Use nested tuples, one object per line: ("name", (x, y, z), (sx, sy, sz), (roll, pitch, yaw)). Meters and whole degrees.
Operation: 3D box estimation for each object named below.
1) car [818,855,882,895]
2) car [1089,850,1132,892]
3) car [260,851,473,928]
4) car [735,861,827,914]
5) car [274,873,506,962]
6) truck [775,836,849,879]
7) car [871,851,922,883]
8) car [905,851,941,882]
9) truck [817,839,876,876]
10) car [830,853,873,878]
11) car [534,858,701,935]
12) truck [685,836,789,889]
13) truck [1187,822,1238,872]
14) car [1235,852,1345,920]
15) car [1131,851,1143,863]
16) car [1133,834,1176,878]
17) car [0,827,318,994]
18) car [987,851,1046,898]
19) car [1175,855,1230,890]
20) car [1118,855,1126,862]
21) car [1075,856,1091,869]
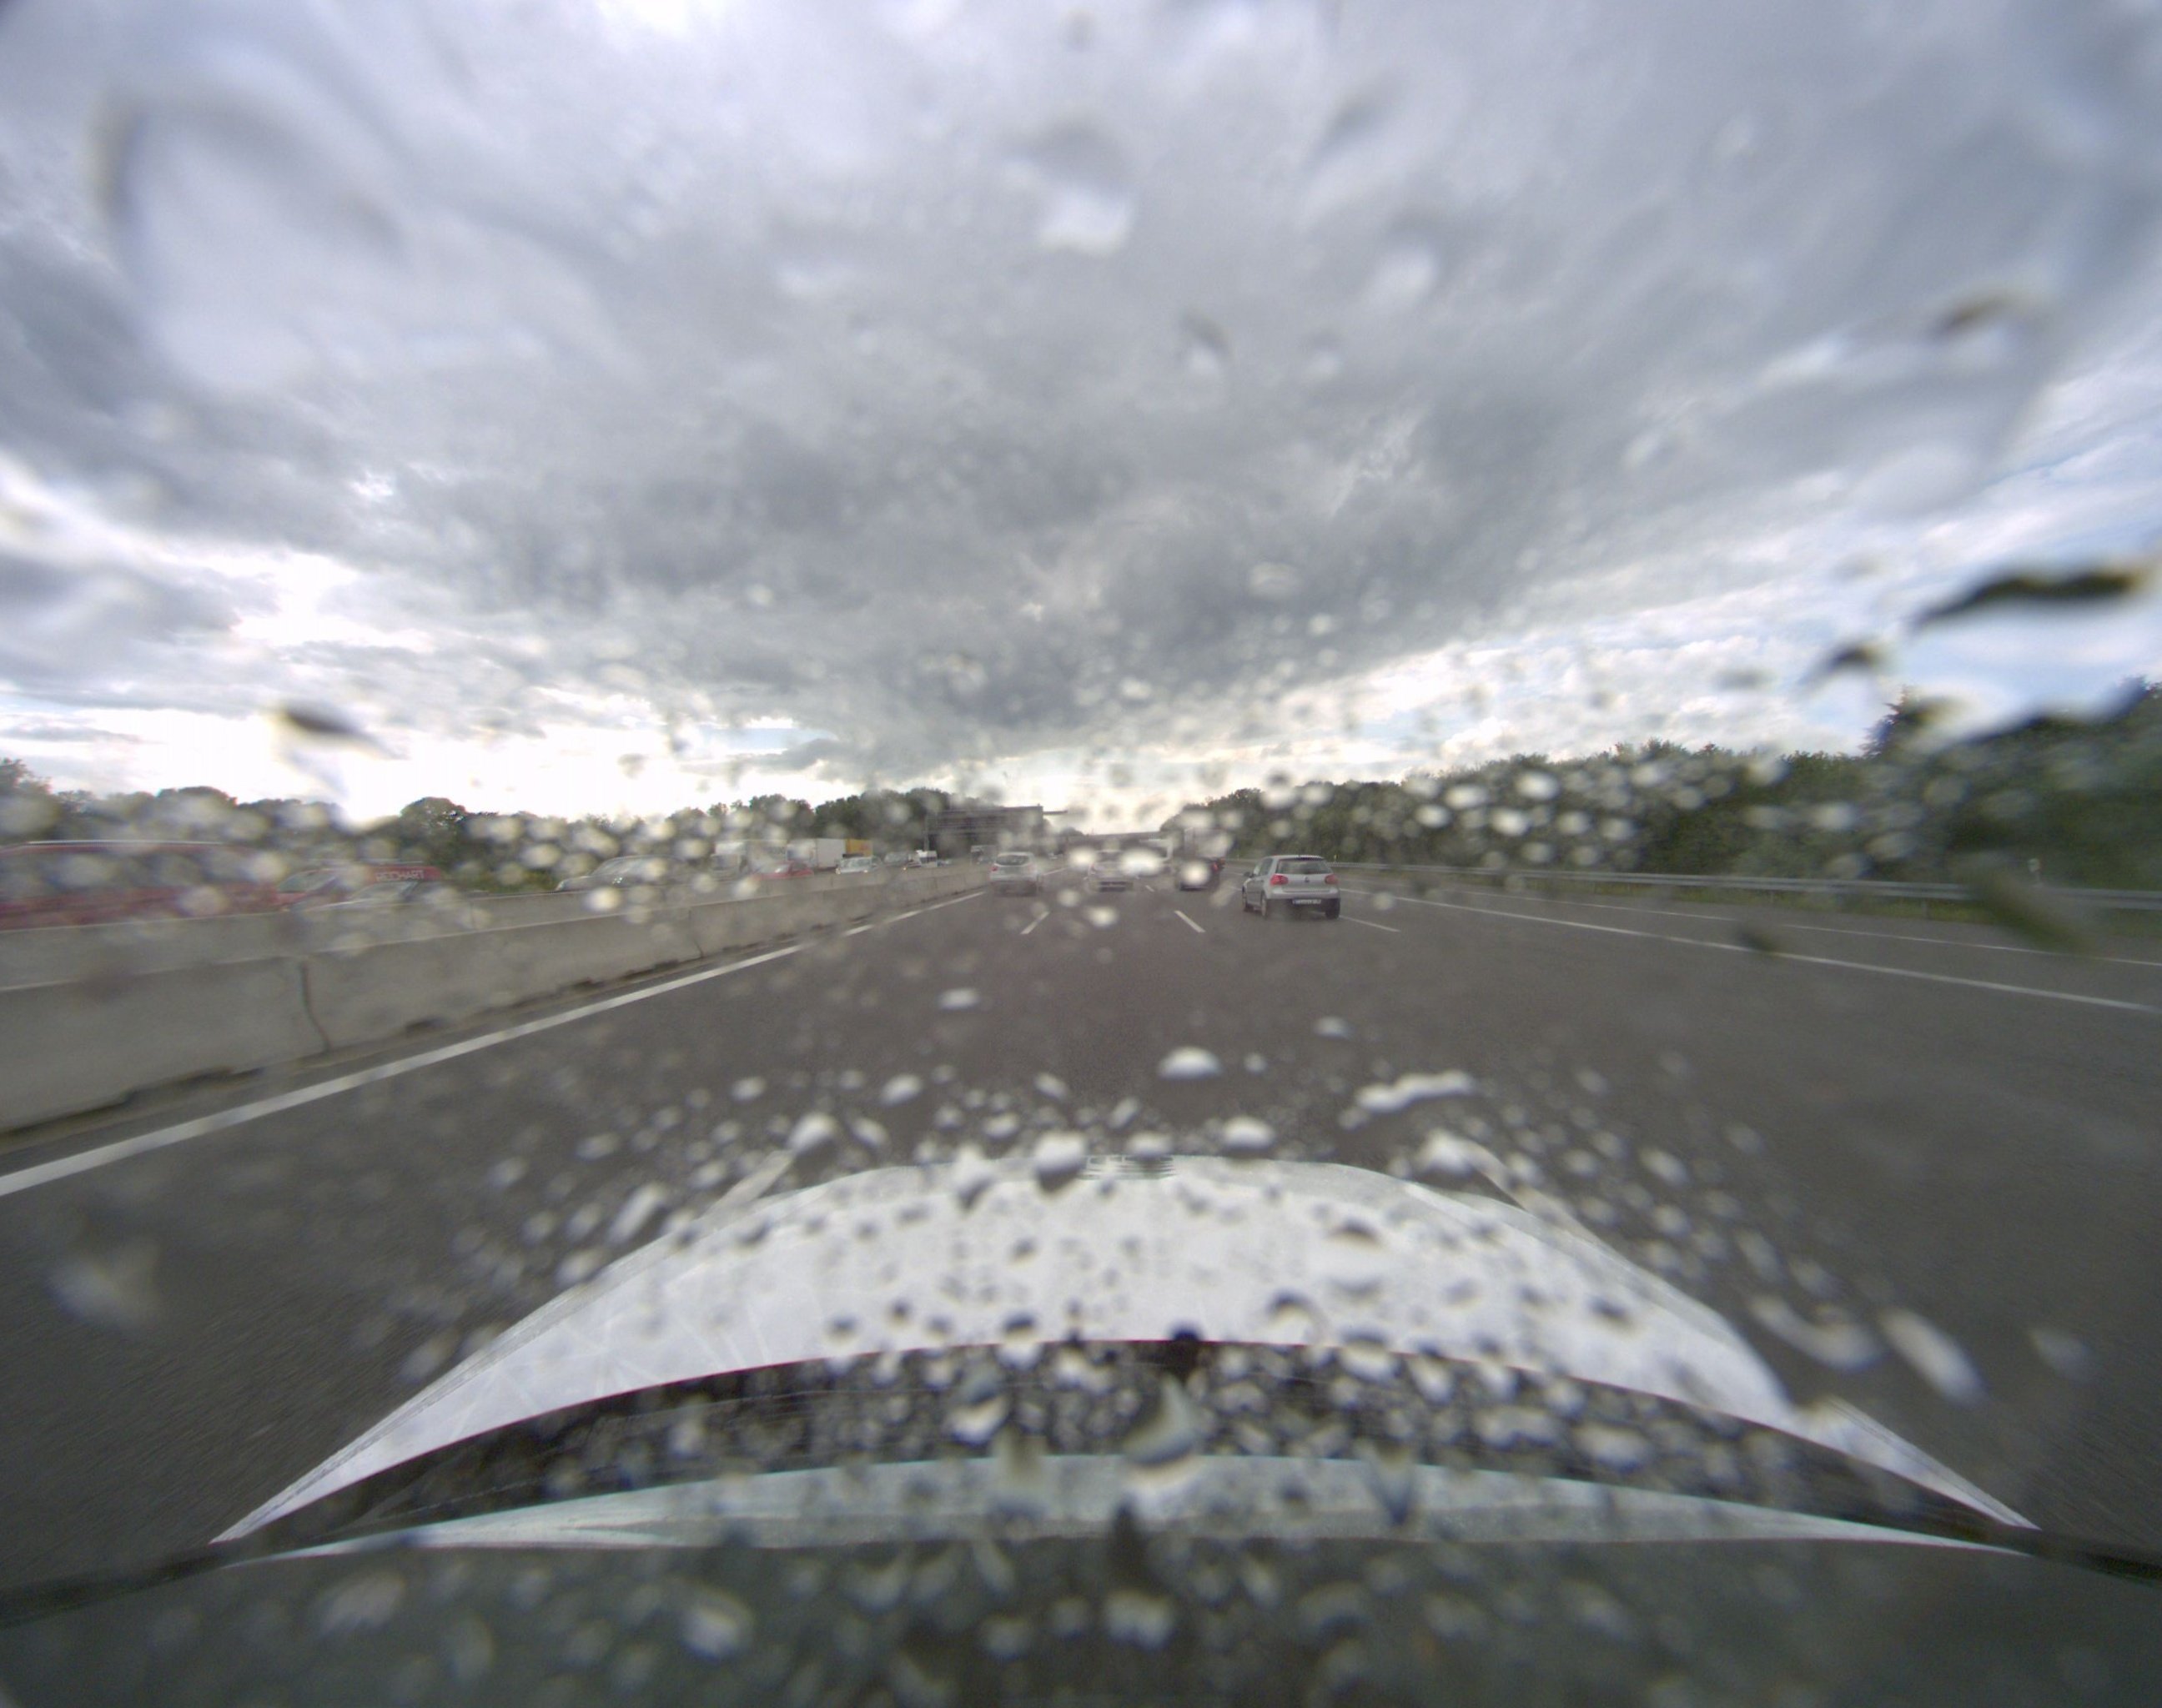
("car", (-12.380, 1.091, 43.943), (1.986, 2.013, 4.427), (-1, 0, 2))
("car", (1.294, 0.707, 36.050), (1.774, 1.716, 4.354), (-1, 0, 1))
("car", (-20.669, 0.940, 23.910), (1.986, 2.013, 4.689), (-1, 0, 2))
("car", (-12.547, 1.337, 34.411), (1.986, 2.013, 4.689), (-1, 0, 2))
("car", (-17.330, 1.492, 20.789), (1.986, 1.899, 4.476), (-1, 0, 2))
("truck", (-24.662, 0.311, 75.393), (2.866, 3.612, 10.320), (-1, 0, 3))
("car", (-12.518, 0.839, 55.658), (1.986, 2.013, 5.760), (-1, 0, 2))
("car", (-17.888, 1.383, 92.664), (2.651, 3.277, 6.564), (-1, 0, 1))
("truck", (-24.186, 0.332, 84.496), (2.866, 3.612, 9.588), (-1, 0, 3))
("car", (-19.440, 0.954, 69.210), (1.987, 2.013, 5.347), (-1, 0, 0))
("car", (-12.913, 1.100, 23.079), (1.986, 1.904, 4.506), (-1, 0, 2))
("truck", (-23.417, 0.550, 56.113), (2.899, 3.290, 9.206), (-1, 0, 2))
("truck", (10.483, -0.527, 65.834), (3.119, 3.709, 9.857), (-1, 0, 4))
("car", (5.009, 0.716, 20.093), (1.788, 1.477, 4.039), (-1, 0, 2))
("car", (9.204, 0.450, 134.193), (2.035, 1.823, 4.908), (-1, 0, 3))
("car", (5.165, 0.121, 58.228), (2.557, 2.895, 7.536), (-1, 0, 2))
("car", (-13.980, 0.700, 11.057), (1.986, 2.013, 5.420), (-1, 0, 2))
("car", (-2.504, 0.739, 32.654), (1.808, 1.689, 4.854), (-1, 0, 1))
("car", (5.190, 0.754, 35.279), (1.878, 1.407, 4.284), (-1, 0, 1))
("car", (10.858, 1.139, 213.931), (1.875, 1.686, 3.999), (-1, 0, 0))
("car", (0.260, 1.041, 96.749), (1.773, 1.481, 4.356), (-1, 0, 3))
